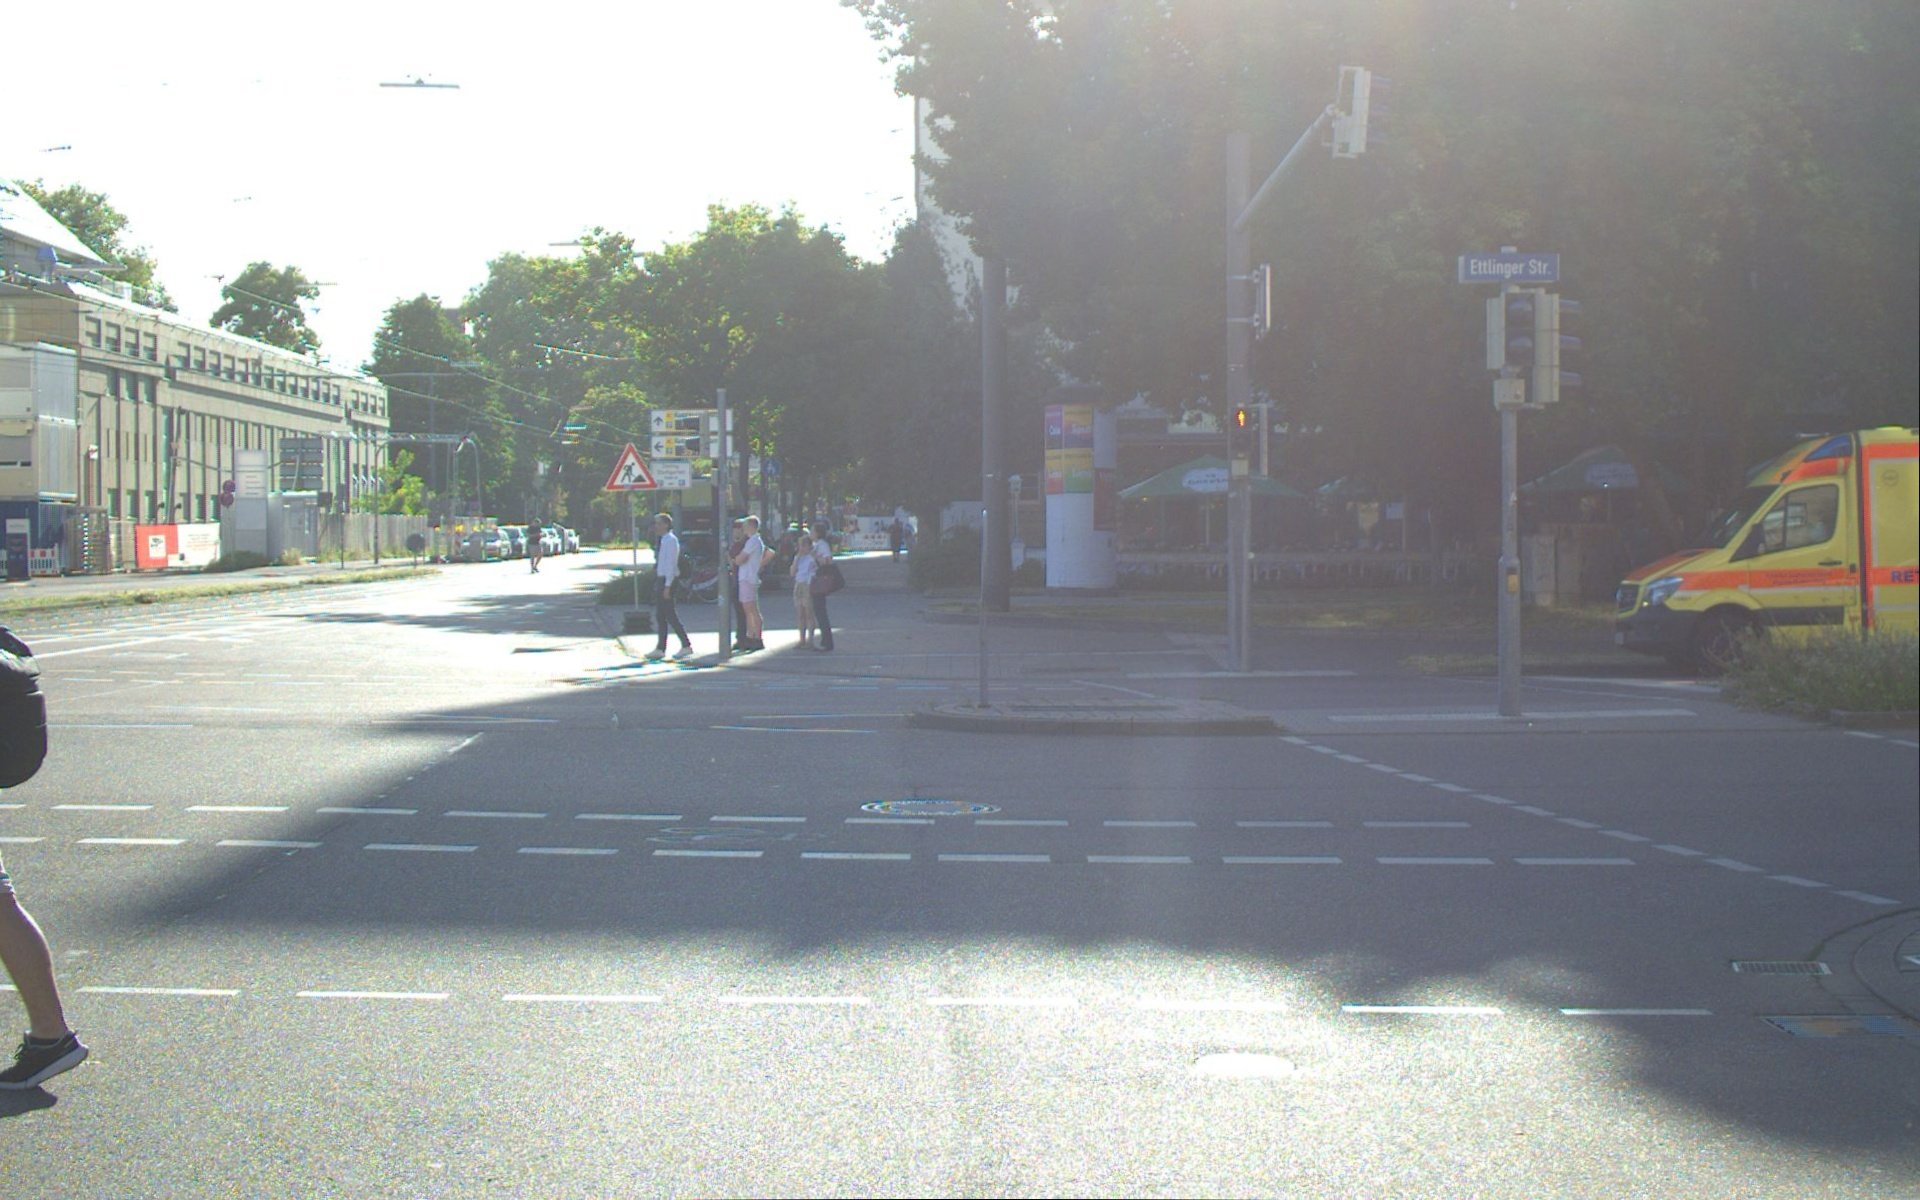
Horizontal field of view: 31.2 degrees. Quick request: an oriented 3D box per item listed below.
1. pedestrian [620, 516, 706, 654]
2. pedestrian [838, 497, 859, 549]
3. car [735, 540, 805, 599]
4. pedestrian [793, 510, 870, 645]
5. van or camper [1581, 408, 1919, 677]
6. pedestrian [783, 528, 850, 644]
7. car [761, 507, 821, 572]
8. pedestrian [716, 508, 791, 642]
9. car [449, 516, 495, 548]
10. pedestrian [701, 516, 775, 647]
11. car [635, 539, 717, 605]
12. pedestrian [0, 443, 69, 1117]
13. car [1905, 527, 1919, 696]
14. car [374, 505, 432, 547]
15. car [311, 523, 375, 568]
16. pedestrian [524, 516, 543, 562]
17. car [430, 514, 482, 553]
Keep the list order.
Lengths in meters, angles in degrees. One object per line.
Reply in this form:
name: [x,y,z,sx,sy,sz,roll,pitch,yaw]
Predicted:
pedestrian: [-3.879,-0.199,44.870,0.965,1.778,0.780,-1,1,-17]
pedestrian: [-7.952,-5.502,245.869,1.401,3.584,1.568,1,0,-1]
car: [-5.070,-0.806,92.012,1.684,1.495,3.509,1,0,-1]
pedestrian: [-1.716,-0.301,45.844,0.847,1.778,0.780,-1,1,-17]
van or camper: [10.569,-0.587,38.679,6.709,2.852,2.910,1,0,4]
pedestrian: [-1.945,-0.190,46.561,0.762,1.553,0.588,-1,1,-17]
car: [-5.273,-1.877,107.627,1.684,1.955,3.509,1,0,-1]
pedestrian: [-2.796,-0.343,46.448,0.847,1.778,0.780,-1,1,-17]
car: [-22.721,-3.158,160.051,1.609,1.493,3.806,-1,1,-1]
pedestrian: [-3.048,-0.259,47.239,0.847,1.778,0.780,-1,1,-17]
car: [-6.738,-0.657,81.853,1.684,1.495,3.509,1,0,-1]
pedestrian: [-2.946,0.456,9.157,1.039,1.715,1.035,-1,1,-12]
car: [11.497,0.160,32.950,4.314,1.641,1.888,1,0,0]
car: [-23.377,-3.105,144.338,1.819,1.706,3.806,-1,1,-1]
car: [-23.937,-2.106,133.458,1.819,1.706,3.806,-1,1,-1]
pedestrian: [-13.831,-1.984,111.476,0.524,1.479,0.437,1,0,-2]
car: [-22.818,-3.000,155.804,1.819,1.706,3.806,-1,1,-1]
